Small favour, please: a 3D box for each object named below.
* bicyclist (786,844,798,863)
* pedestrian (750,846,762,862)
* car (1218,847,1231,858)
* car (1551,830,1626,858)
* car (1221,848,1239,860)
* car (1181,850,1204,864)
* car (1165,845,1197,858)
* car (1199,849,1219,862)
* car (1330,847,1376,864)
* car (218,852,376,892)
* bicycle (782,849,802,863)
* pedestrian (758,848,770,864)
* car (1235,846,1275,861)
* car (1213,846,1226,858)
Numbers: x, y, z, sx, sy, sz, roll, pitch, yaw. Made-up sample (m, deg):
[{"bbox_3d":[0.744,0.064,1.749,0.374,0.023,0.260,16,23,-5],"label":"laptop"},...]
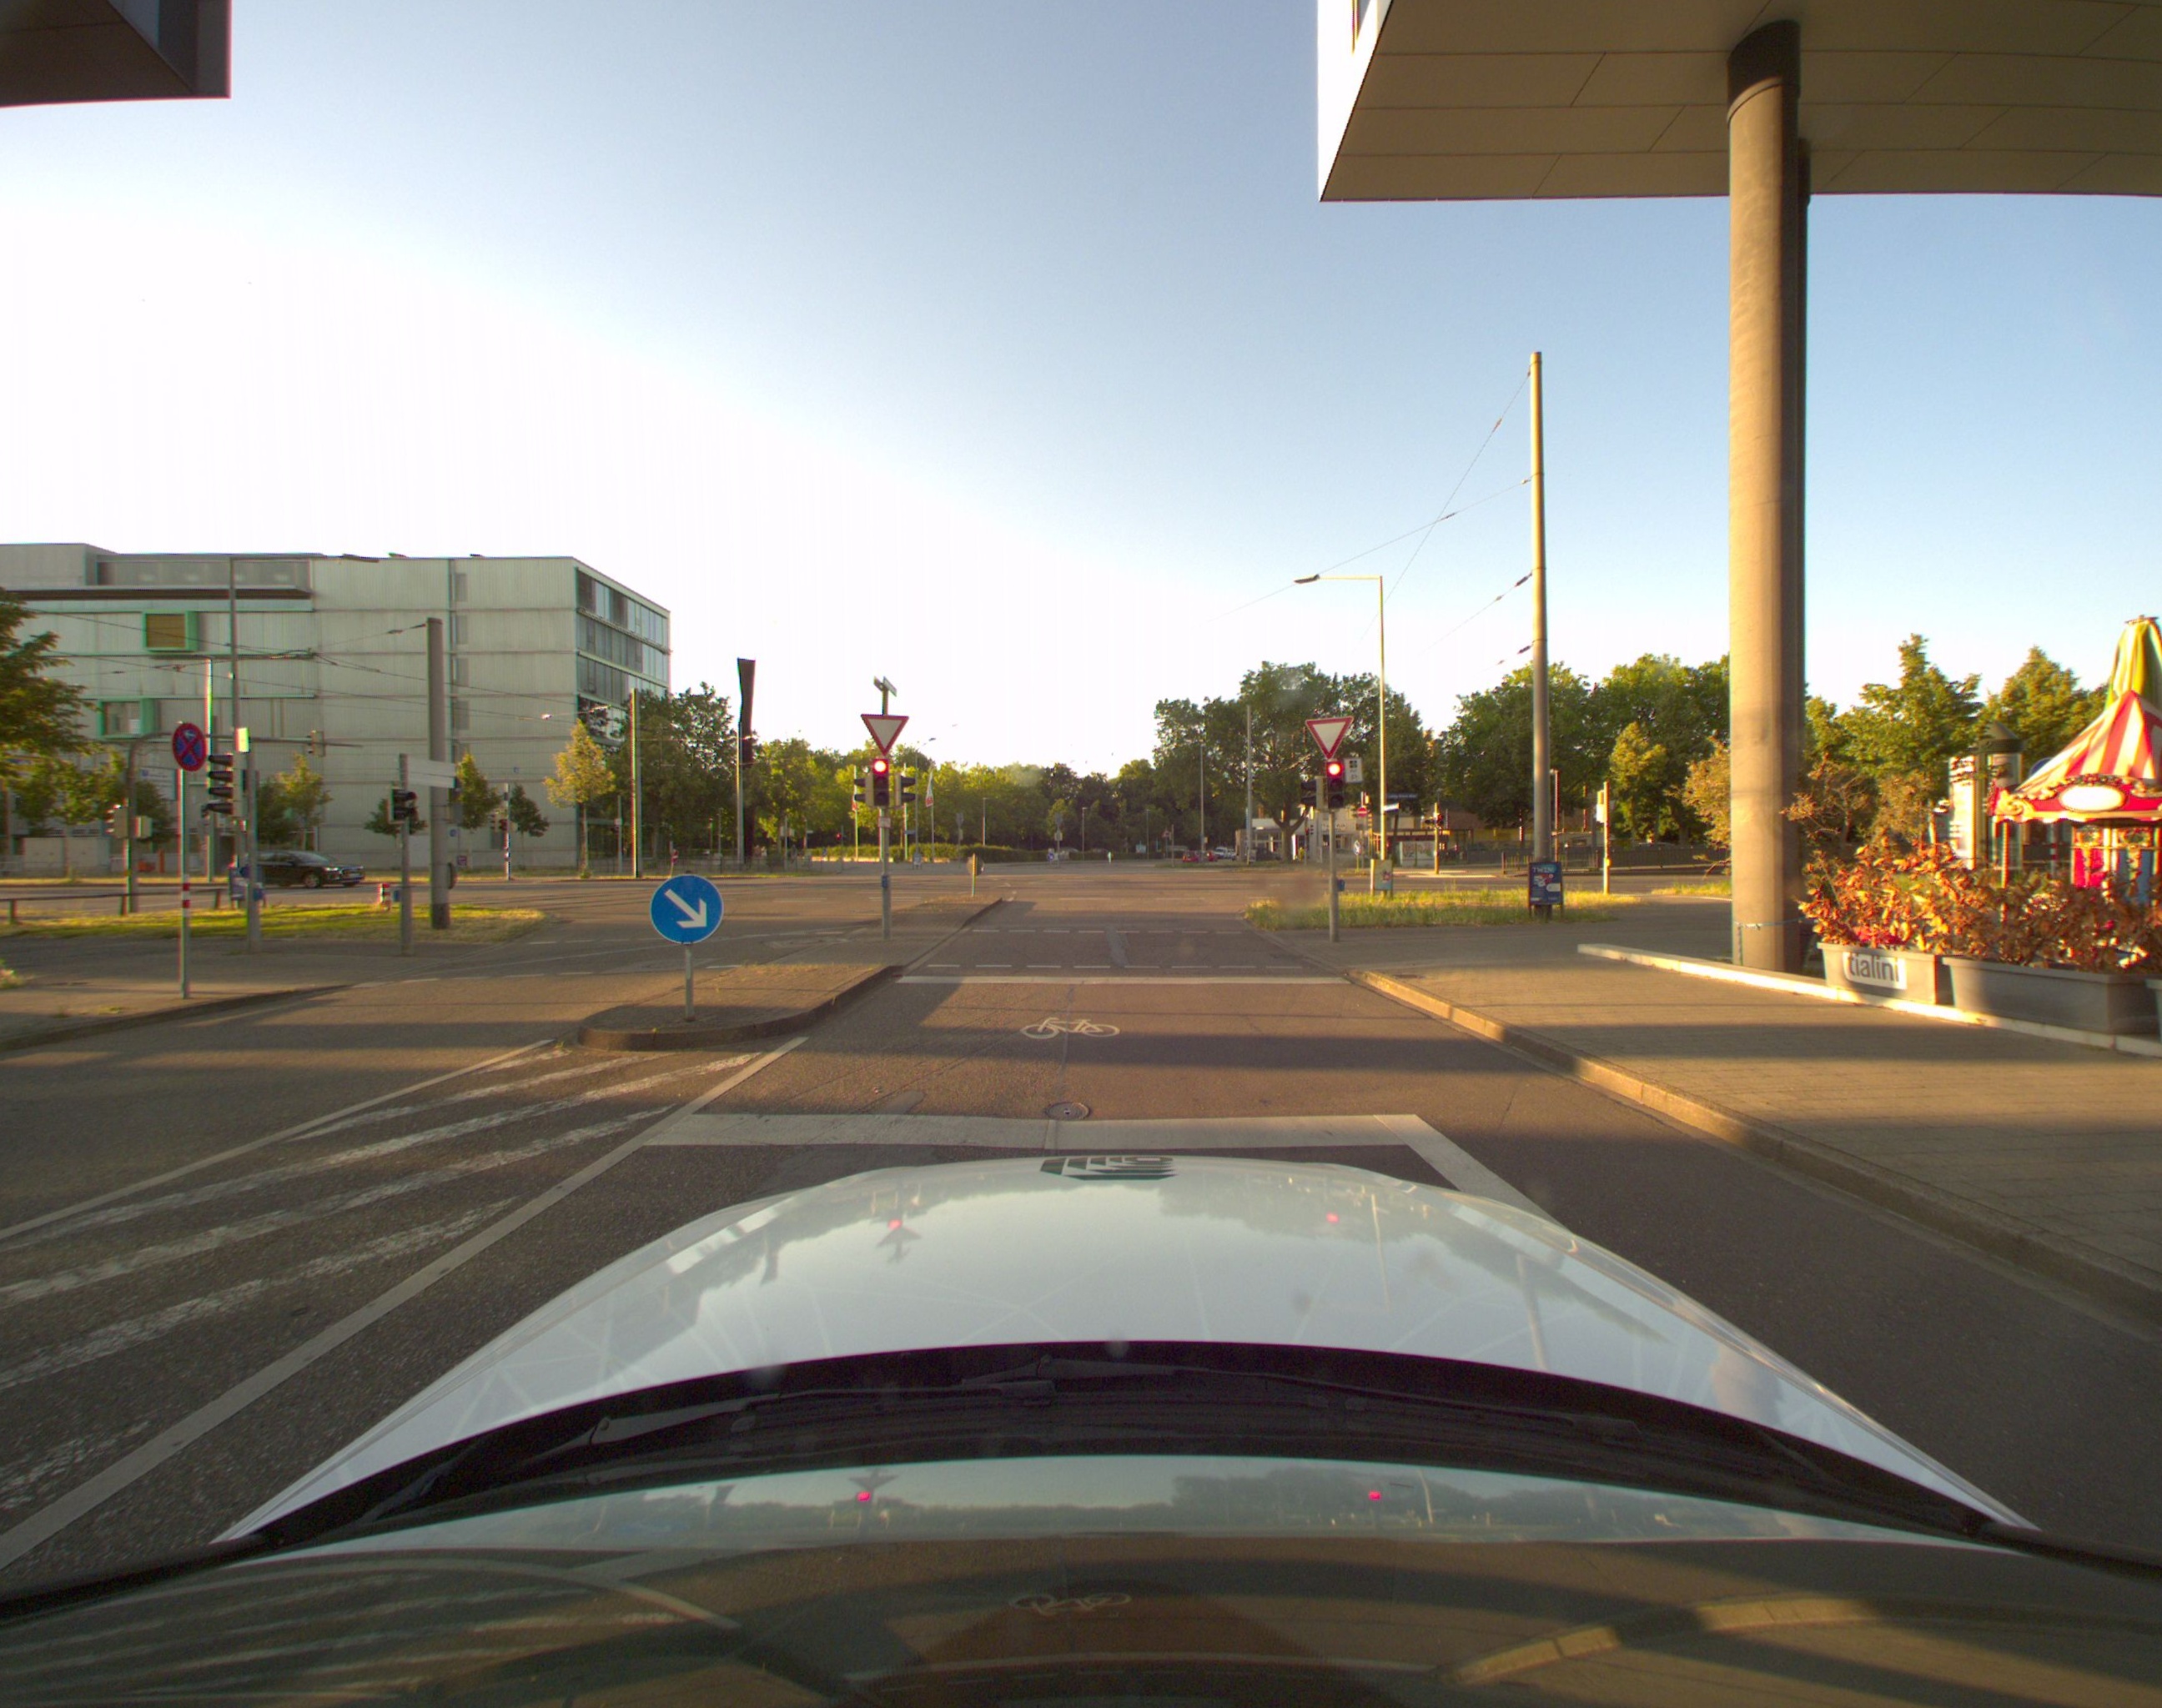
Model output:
[{"bbox_3d":[-27.092,-0.056,76.446,0.757,1.709,0.909,-1,0,-41],"label":"bicyclist"},{"bbox_3d":[-35.431,-0.023,88.698,0.852,1.744,0.835,-1,0,30],"label":"pedestrian"},{"bbox_3d":[23.942,-0.273,135.731,1.849,1.794,4.015,-1,-1,14],"label":"car"},{"bbox_3d":[47.918,-0.923,77.031,5.561,2.551,2.235,-1,0,9],"label":"car"},{"bbox_3d":[21.095,-0.014,115.293,1.978,1.662,4.018,-1,-1,17],"label":"car"},{"bbox_3d":[13.110,0.366,95.553,1.978,1.662,4.018,-1,-1,17],"label":"car"},{"bbox_3d":[15.424,-0.347,125.723,4.753,2.006,2.002,-1,-1,3],"label":"car"},{"bbox_3d":[16.214,0.203,103.173,1.978,1.662,4.018,-1,-1,17],"label":"car"},{"bbox_3d":[23.957,0.159,71.855,3.715,1.440,1.669,-1,-1,11],"label":"car"},{"bbox_3d":[-32.507,0.733,33.893,4.467,1.557,1.986,-1,0,-4],"label":"car"},{"bbox_3d":[-27.202,0.199,76.661,0.736,1.341,2.658,-1,0,-43],"label":"bicycle"},{"bbox_3d":[-34.770,0.211,89.390,0.852,1.744,0.835,-1,0,34],"label":"pedestrian"},{"bbox_3d":[18.928,0.003,88.894,4.194,1.552,2.005,-1,-1,9],"label":"car"},{"bbox_3d":[22.278,-0.265,130.873,1.850,1.794,4.013,-1,-1,12],"label":"car"}]
